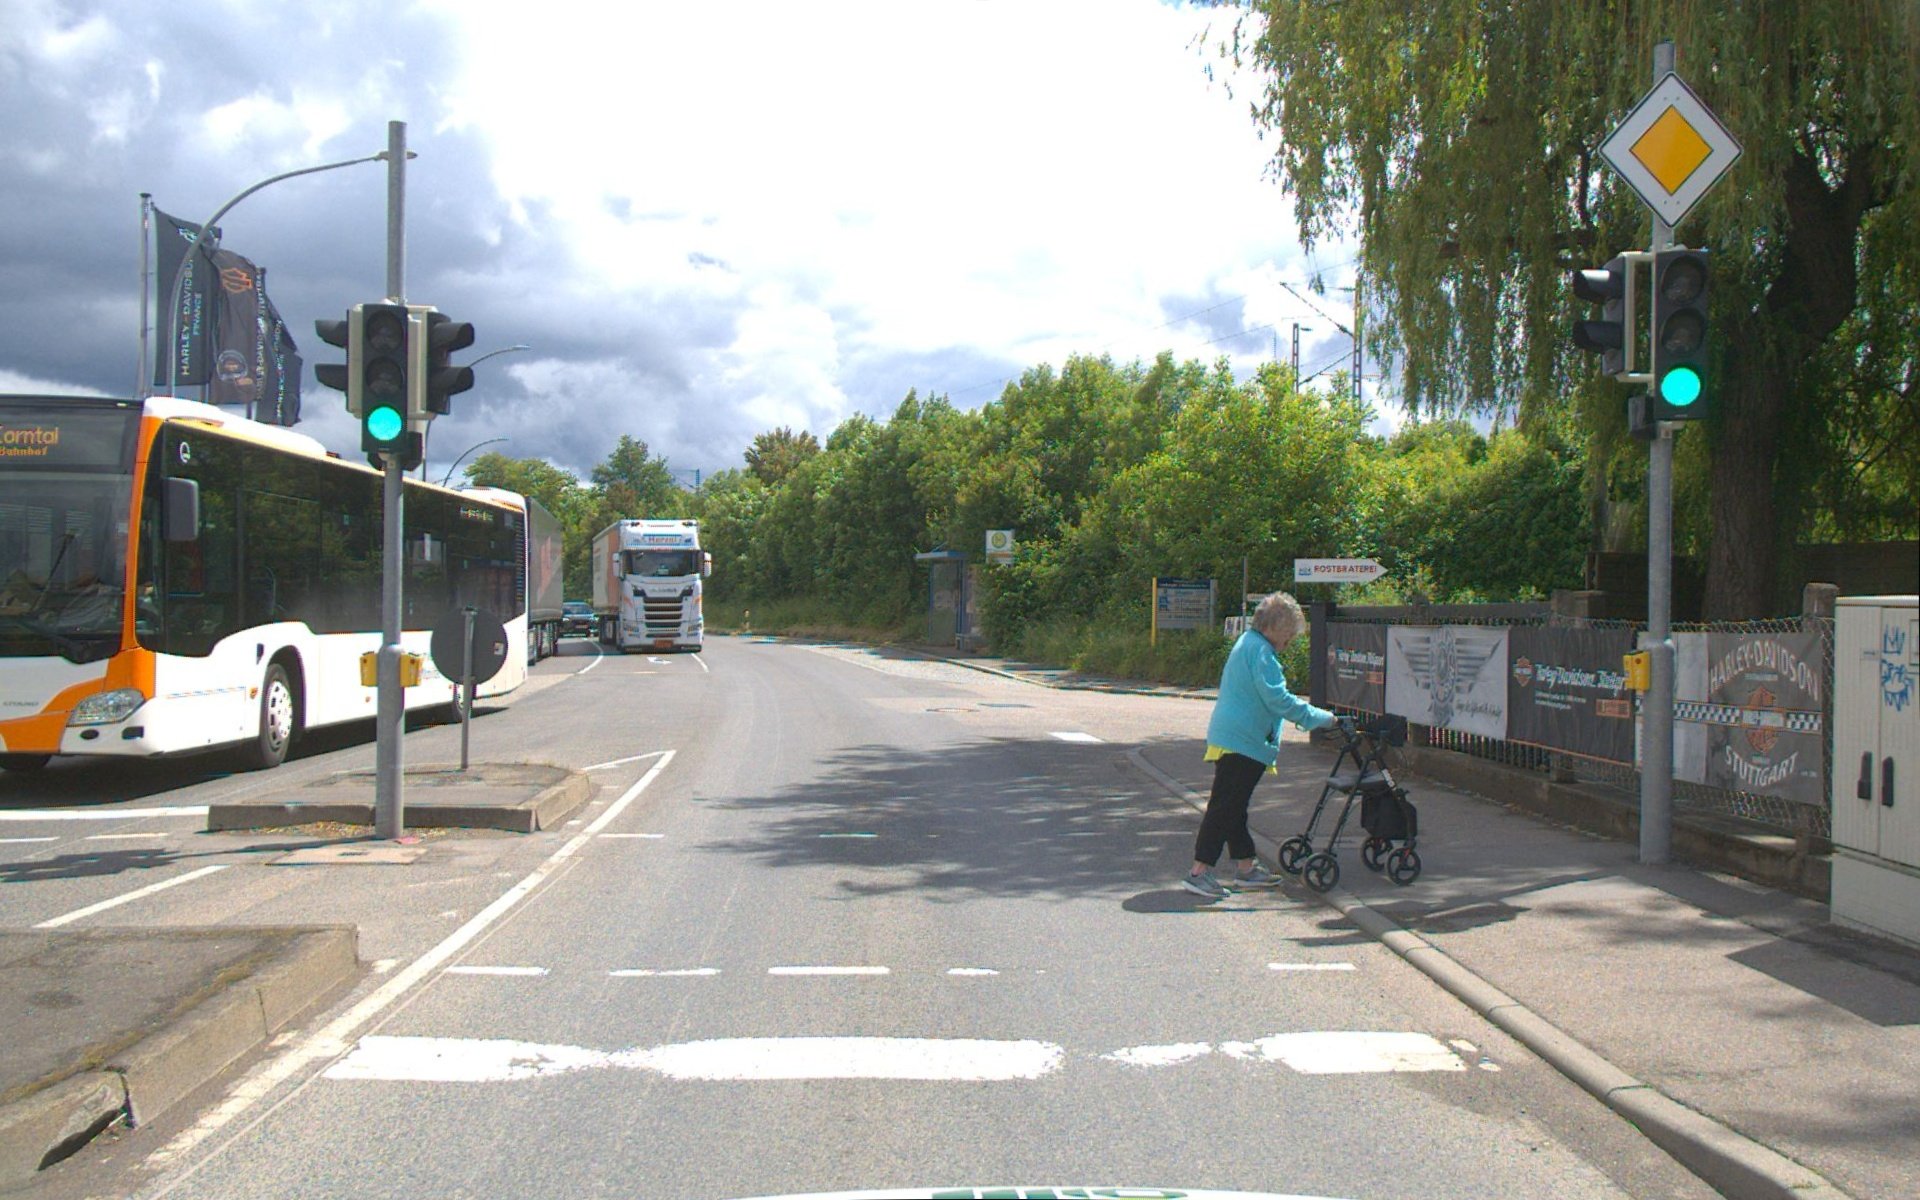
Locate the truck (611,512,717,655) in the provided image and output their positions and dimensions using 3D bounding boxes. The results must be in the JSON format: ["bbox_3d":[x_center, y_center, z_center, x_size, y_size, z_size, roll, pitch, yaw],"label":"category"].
[{"bbox_3d":[-9.278,-0.458,51.507,2.726,4.191,4.965,1,-1,-16],"label":"truck"}]

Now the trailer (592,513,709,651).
[{"bbox_3d":[-11.148,-0.482,58.262,2.726,4.217,15.285,1,-1,-15],"label":"trailer"}]

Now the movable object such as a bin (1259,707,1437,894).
[{"bbox_3d":[2.000,1.024,8.592,0.731,0.887,0.670,1,-1,-4],"label":"movable object such as a bin"}]

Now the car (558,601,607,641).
[{"bbox_3d":[-16.828,0.926,73.673,1.960,1.736,3.984,1,-1,-15],"label":"car"}]

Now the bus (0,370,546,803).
[{"bbox_3d":[-7.283,-0.029,17.912,2.663,3.084,12.263,0,-1,-1],"label":"bus"}]

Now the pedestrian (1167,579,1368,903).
[{"bbox_3d":[1.566,0.698,8.544,0.822,1.570,0.733,-2,-1,-4],"label":"pedestrian"}]

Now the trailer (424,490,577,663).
[{"bbox_3d":[-12.843,-0.485,47.572,2.748,4.124,15.516,1,-1,-10],"label":"trailer"}]

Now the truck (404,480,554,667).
[{"bbox_3d":[-11.557,-0.551,40.275,2.748,4.124,6.484,1,-1,-10],"label":"truck"}]
